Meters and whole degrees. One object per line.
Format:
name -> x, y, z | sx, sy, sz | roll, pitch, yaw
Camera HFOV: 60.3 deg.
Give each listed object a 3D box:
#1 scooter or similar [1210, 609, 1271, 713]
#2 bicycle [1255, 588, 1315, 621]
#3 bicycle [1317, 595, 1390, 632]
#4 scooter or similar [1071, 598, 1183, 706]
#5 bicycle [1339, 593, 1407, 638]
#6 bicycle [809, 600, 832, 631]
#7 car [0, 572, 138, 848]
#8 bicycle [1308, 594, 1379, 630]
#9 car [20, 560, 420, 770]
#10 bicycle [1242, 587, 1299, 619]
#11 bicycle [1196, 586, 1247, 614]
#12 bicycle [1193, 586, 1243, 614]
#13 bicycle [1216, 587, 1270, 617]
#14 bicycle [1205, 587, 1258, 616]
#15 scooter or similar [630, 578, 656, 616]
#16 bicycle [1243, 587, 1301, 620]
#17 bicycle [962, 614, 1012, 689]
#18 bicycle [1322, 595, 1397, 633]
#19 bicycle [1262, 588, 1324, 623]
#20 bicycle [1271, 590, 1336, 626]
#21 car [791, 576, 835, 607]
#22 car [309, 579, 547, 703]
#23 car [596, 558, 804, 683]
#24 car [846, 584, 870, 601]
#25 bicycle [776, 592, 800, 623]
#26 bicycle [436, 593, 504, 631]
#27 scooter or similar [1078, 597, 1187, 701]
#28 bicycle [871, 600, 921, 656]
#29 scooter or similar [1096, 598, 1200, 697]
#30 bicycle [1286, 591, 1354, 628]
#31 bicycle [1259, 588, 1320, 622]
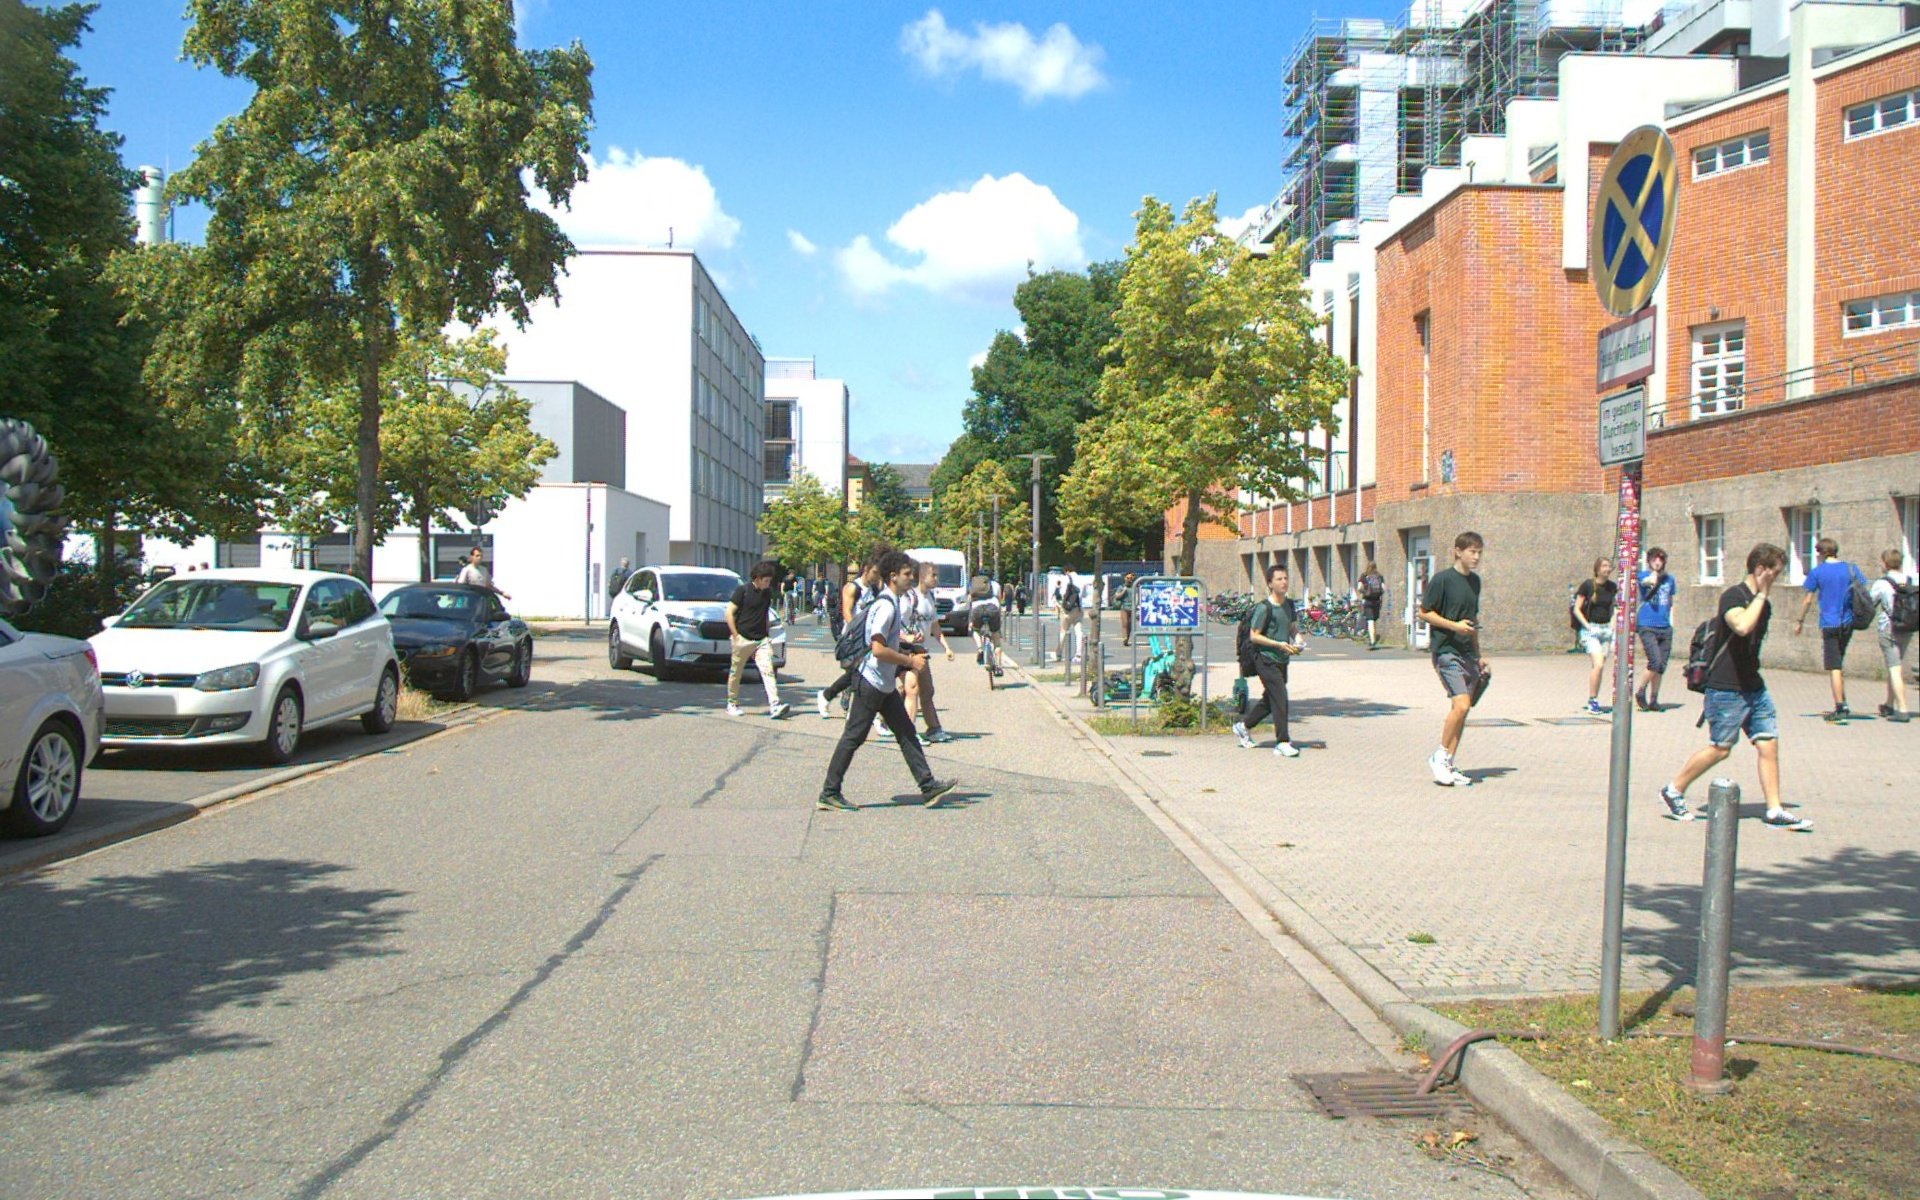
scooter or similar -> 3.361, 0.705, 19.746 | 0.635, 1.180, 1.266 | 0, 1, 14
bicycle -> 10.272, 0.141, 52.259 | 1.773, 1.002, 0.560 | -1, 1, -2
bicycle -> 10.262, 0.354, 43.136 | 1.773, 0.928, 0.560 | -1, 1, -2
scooter or similar -> 2.070, 0.625, 20.485 | 1.237, 1.287, 0.649 | 0, 1, 31
bicycle -> 10.076, 0.370, 40.340 | 1.504, 1.051, 0.560 | -1, 0, -2
bicycle -> -4.705, 0.503, 55.809 | 0.663, 0.981, 2.002 | 2, 0, -3
car -> -5.658, 0.544, 7.552 | 1.690, 1.367, 4.165 | 2, 1, 0
bicycle -> 10.347, 0.317, 44.631 | 1.773, 0.928, 0.560 | -1, 1, -2
car -> -5.828, 0.430, 13.543 | 1.629, 1.436, 3.806 | 2, 1, -2
bicycle -> 10.309, 0.107, 54.877 | 1.773, 1.002, 0.560 | -1, 1, -2
bicycle -> 9.668, 0.003, 61.224 | 1.773, 1.002, 0.560 | -1, 1, -2
bicycle -> 9.712, -0.002, 62.189 | 1.773, 1.002, 0.560 | -1, 1, -2
bicycle -> 9.816, 0.070, 57.357 | 1.773, 1.002, 0.560 | -1, 1, -2
bicycle -> 9.667, 0.047, 58.887 | 1.773, 1.002, 0.560 | -1, 1, -2
scooter or similar -> -10.675, -0.105, 55.733 | 0.369, 1.237, 1.206 | 0, 1, 14
bicycle -> 10.193, 0.112, 54.092 | 1.773, 1.002, 0.560 | -1, 1, -2
bicycle -> 0.405, 0.728, 24.227 | 0.692, 1.010, 1.911 | 1, 0, 1
bicycle -> 10.210, 0.354, 42.278 | 1.773, 0.928, 0.560 | -1, 1, -2
bicycle -> 10.276, 0.167, 51.059 | 1.773, 1.002, 0.560 | -1, 1, -2
bicycle -> 10.023, 0.241, 48.257 | 1.773, 1.002, 0.560 | -1, 1, -2
car -> -7.566, -0.464, 85.246 | 1.758, 1.556, 4.002 | 0, 1, 2
car -> -6.255, 0.418, 19.877 | 1.611, 1.323, 3.927 | 0, 1, -1
car -> -4.020, 0.262, 24.957 | 1.893, 1.647, 4.485 | 3, 0, -25
car -> -9.331, -0.708, 151.555 | 1.758, 1.556, 4.002 | 0, 1, 2
bicycle -> -5.631, 0.247, 54.185 | 0.663, 0.981, 2.002 | 1, 1, -4
bicycle -> -13.693, 0.319, 46.204 | 2.084, 1.020, 0.807 | 1, 0, 40
scooter or similar -> 2.217, 0.614, 21.263 | 1.237, 1.287, 0.649 | 0, 1, 31
bicycle -> -1.321, 0.558, 33.776 | 0.793, 1.019, 2.120 | -1, 2, -8
scooter or similar -> 2.513, 0.616, 22.086 | 1.237, 1.287, 0.638 | 0, 1, 31
bicycle -> 10.076, 0.266, 46.297 | 1.773, 1.002, 0.560 | -1, 1, -2
bicycle -> 10.275, 0.158, 51.646 | 1.773, 1.002, 0.560 | -1, 1, -2
